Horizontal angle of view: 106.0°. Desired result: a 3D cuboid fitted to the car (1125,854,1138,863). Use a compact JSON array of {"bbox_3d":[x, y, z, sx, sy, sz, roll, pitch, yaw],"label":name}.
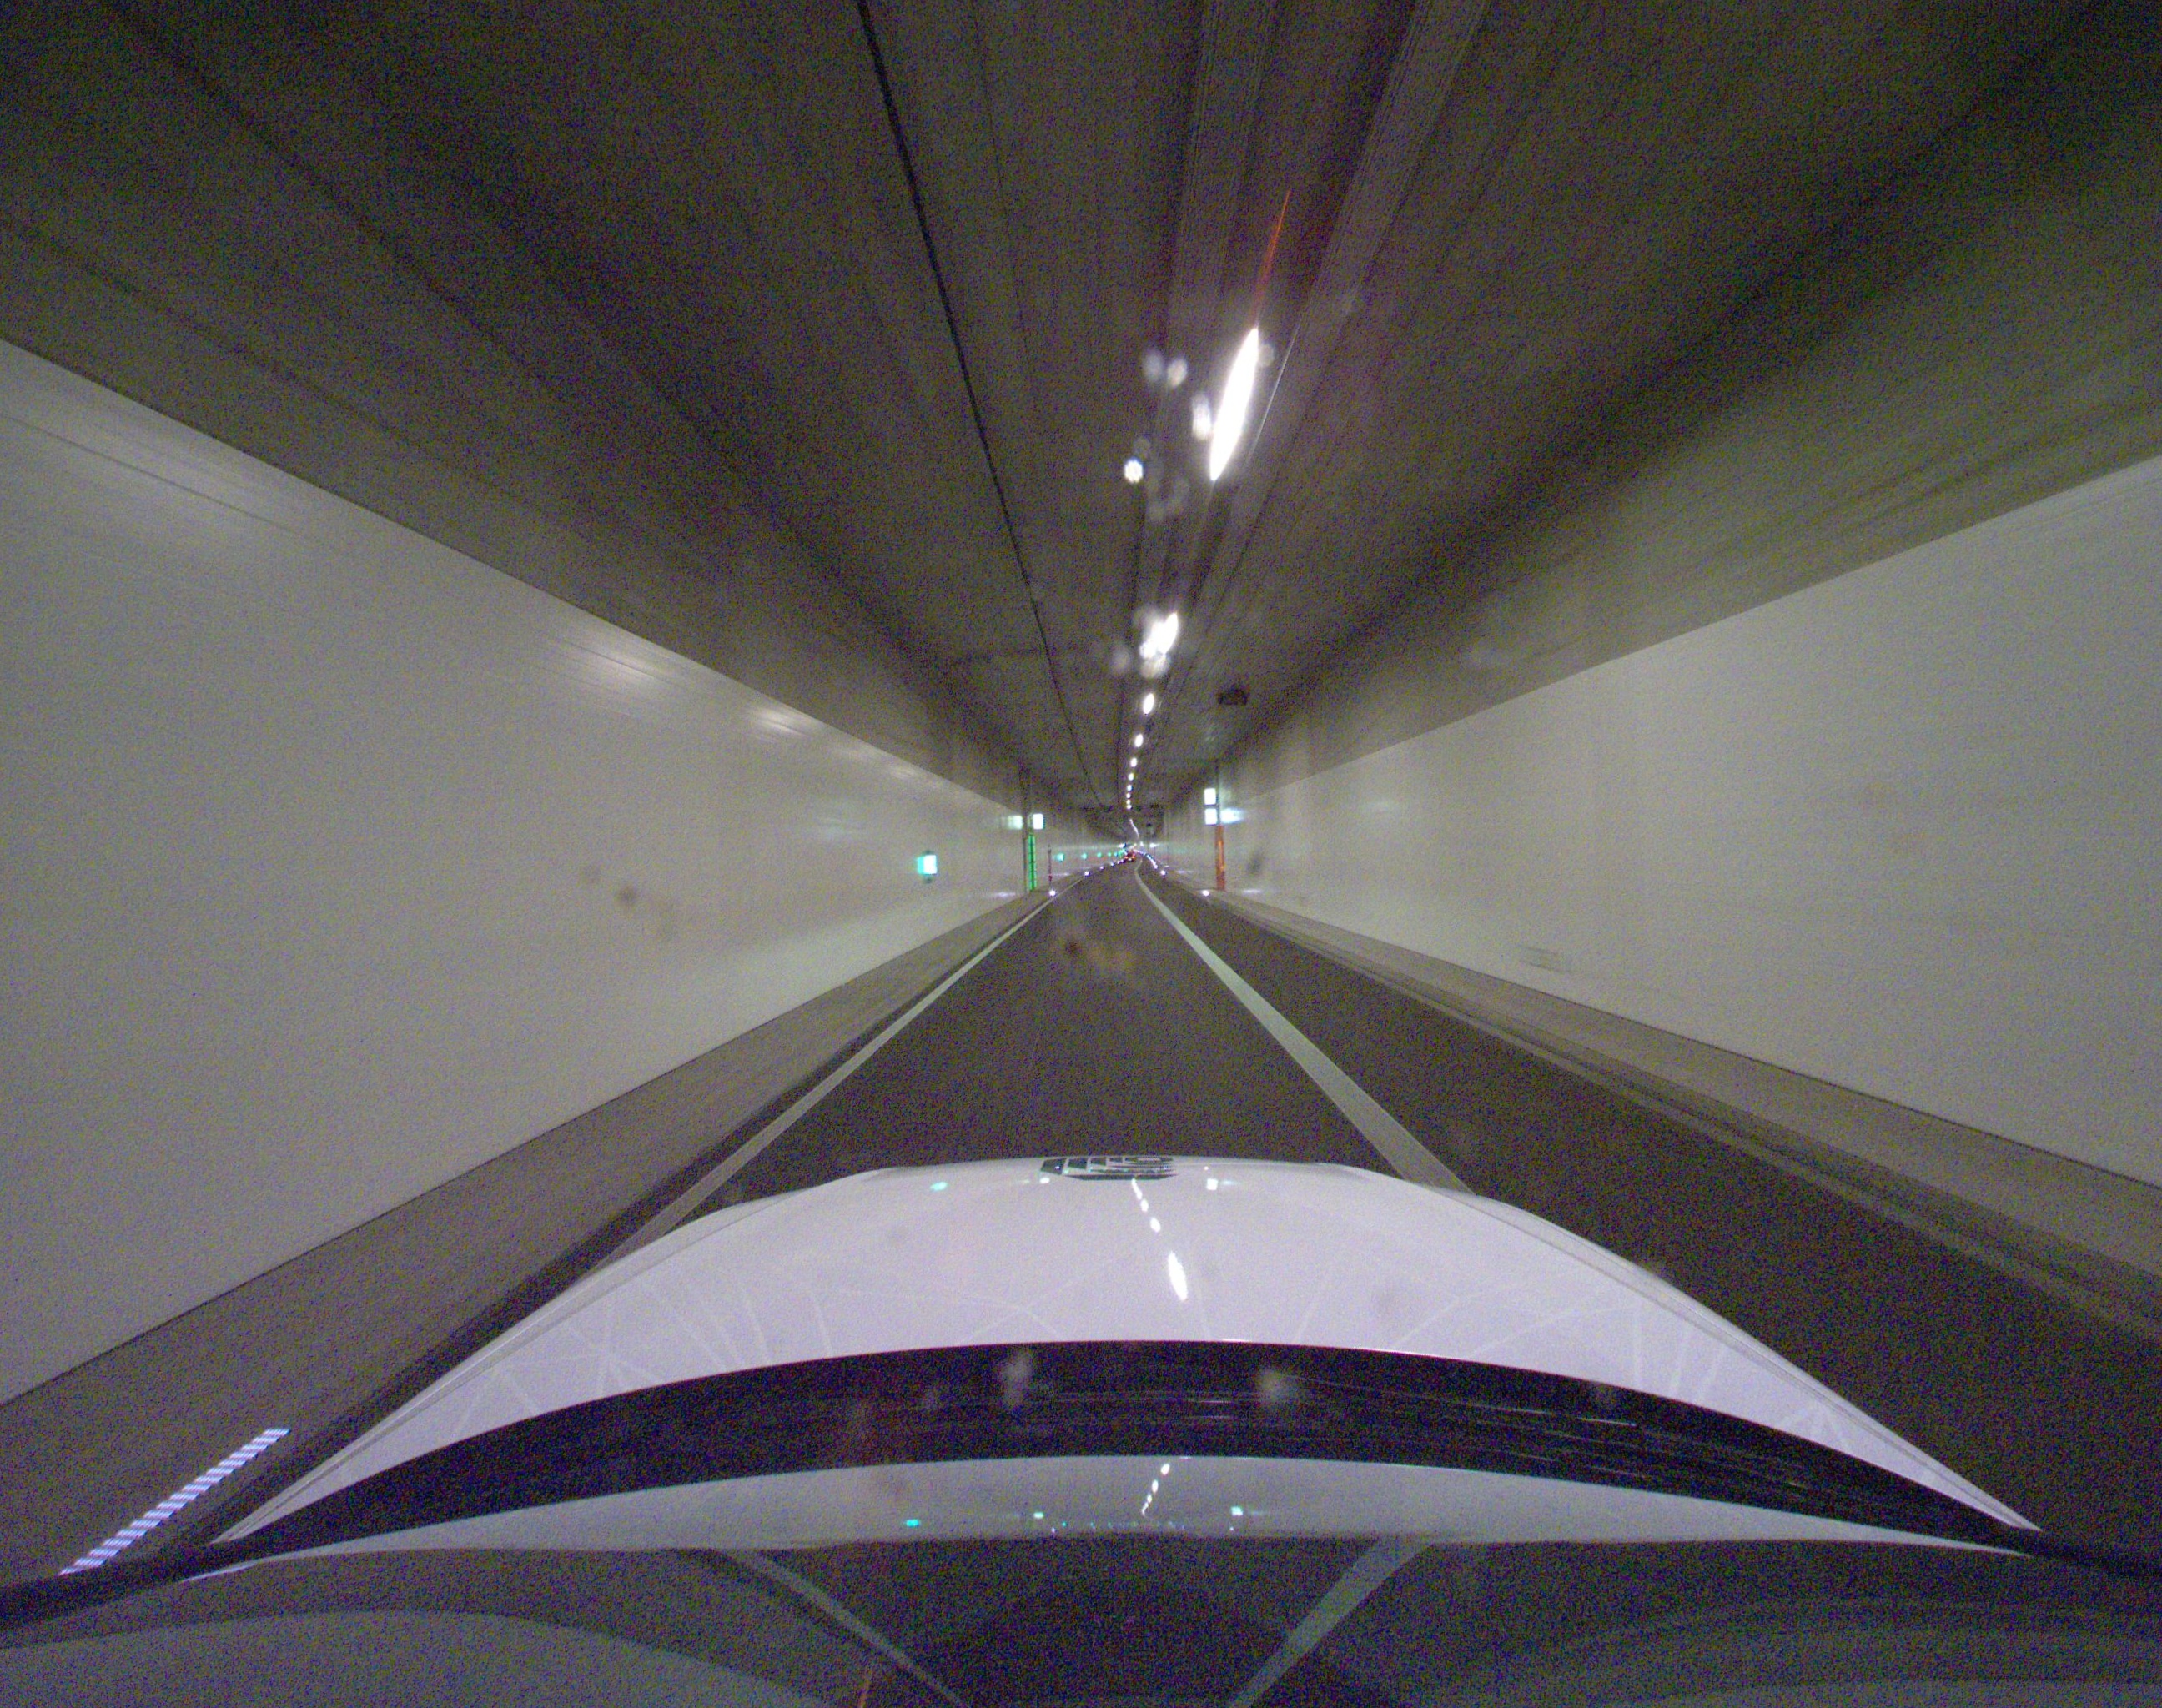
[{"bbox_3d":[8.183,0.772,131.641,1.986,1.420,4.002,-1,0,2],"label":"car"}]
